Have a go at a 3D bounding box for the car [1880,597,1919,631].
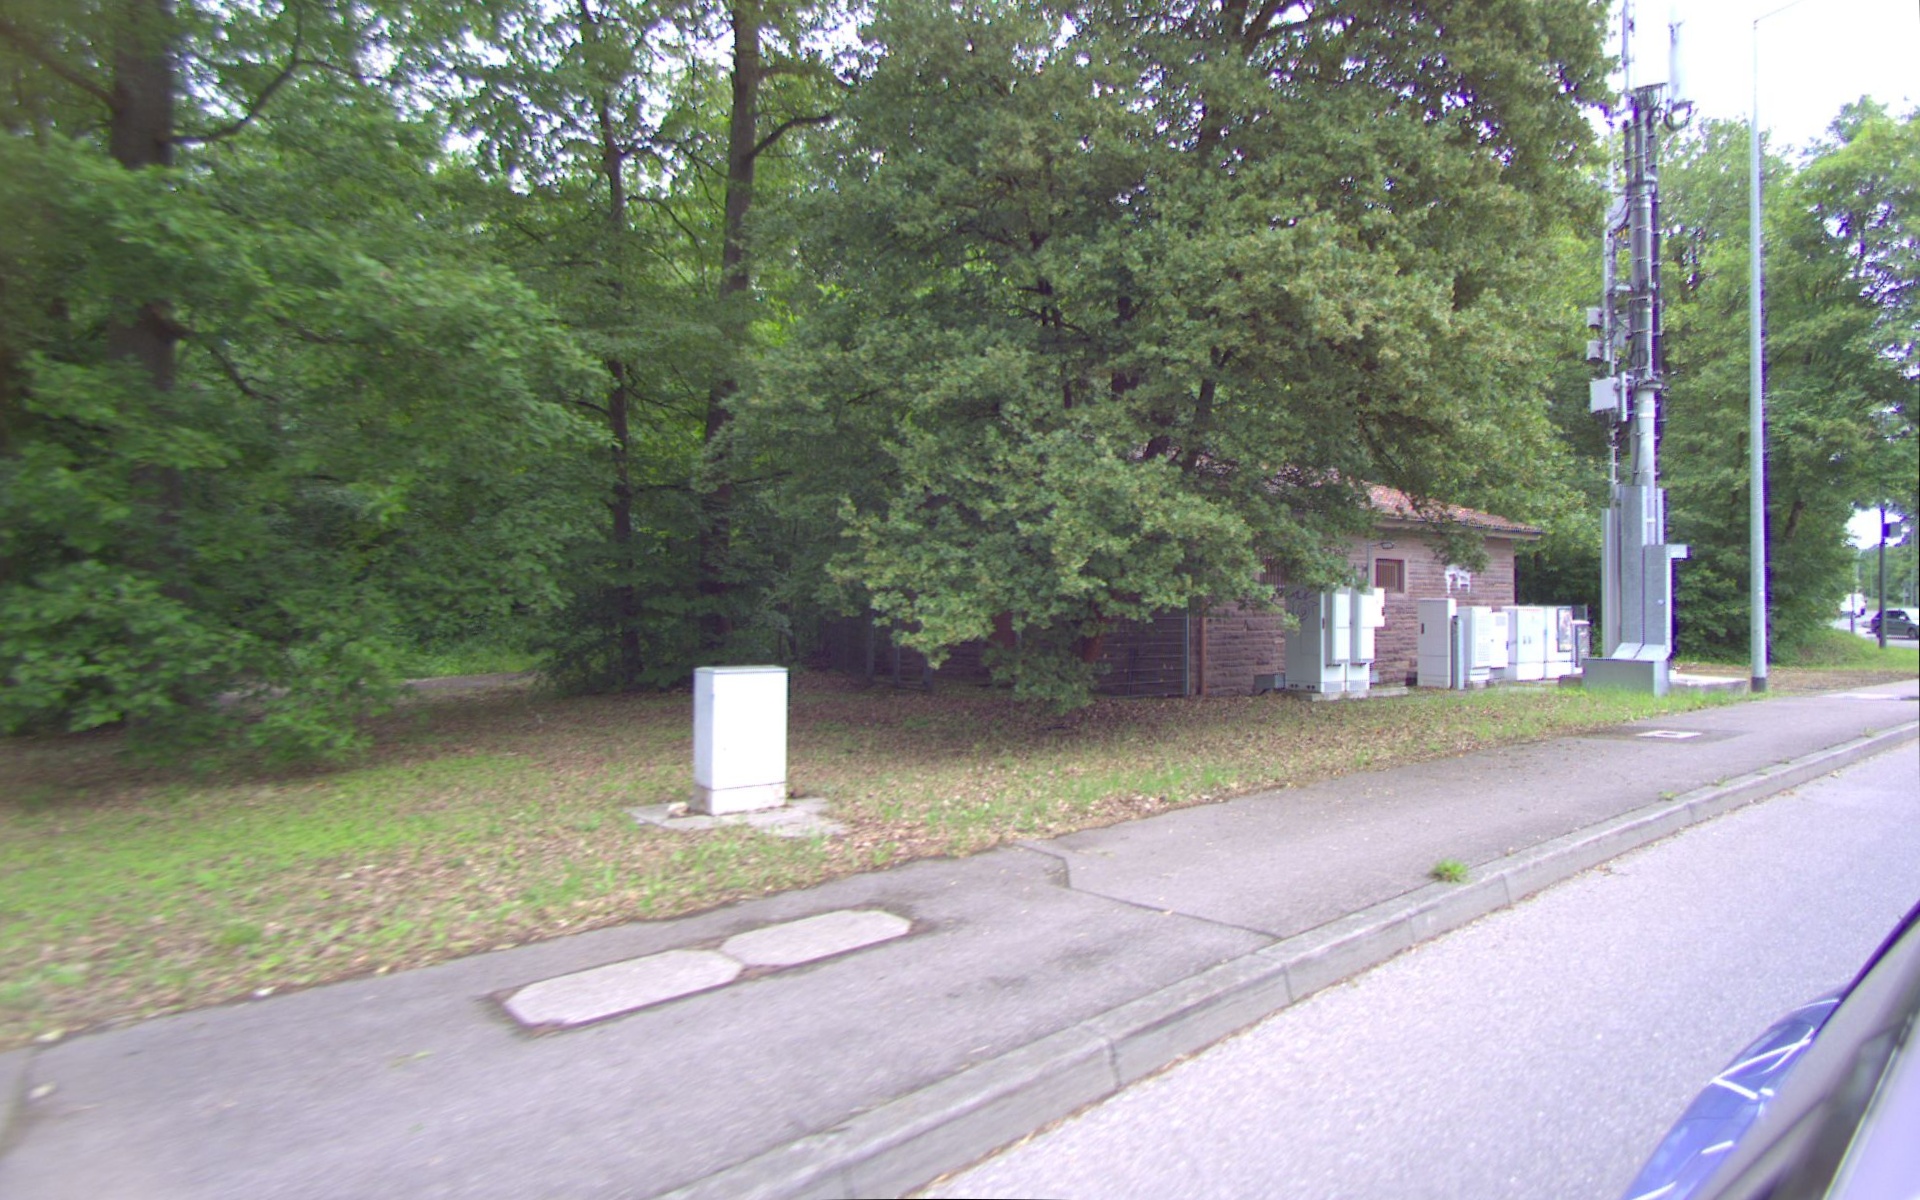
[{"bbox_3d":[46.881,0.659,48.747,1.867,1.661,3.972,-1,-1,9],"label":"car"}]
